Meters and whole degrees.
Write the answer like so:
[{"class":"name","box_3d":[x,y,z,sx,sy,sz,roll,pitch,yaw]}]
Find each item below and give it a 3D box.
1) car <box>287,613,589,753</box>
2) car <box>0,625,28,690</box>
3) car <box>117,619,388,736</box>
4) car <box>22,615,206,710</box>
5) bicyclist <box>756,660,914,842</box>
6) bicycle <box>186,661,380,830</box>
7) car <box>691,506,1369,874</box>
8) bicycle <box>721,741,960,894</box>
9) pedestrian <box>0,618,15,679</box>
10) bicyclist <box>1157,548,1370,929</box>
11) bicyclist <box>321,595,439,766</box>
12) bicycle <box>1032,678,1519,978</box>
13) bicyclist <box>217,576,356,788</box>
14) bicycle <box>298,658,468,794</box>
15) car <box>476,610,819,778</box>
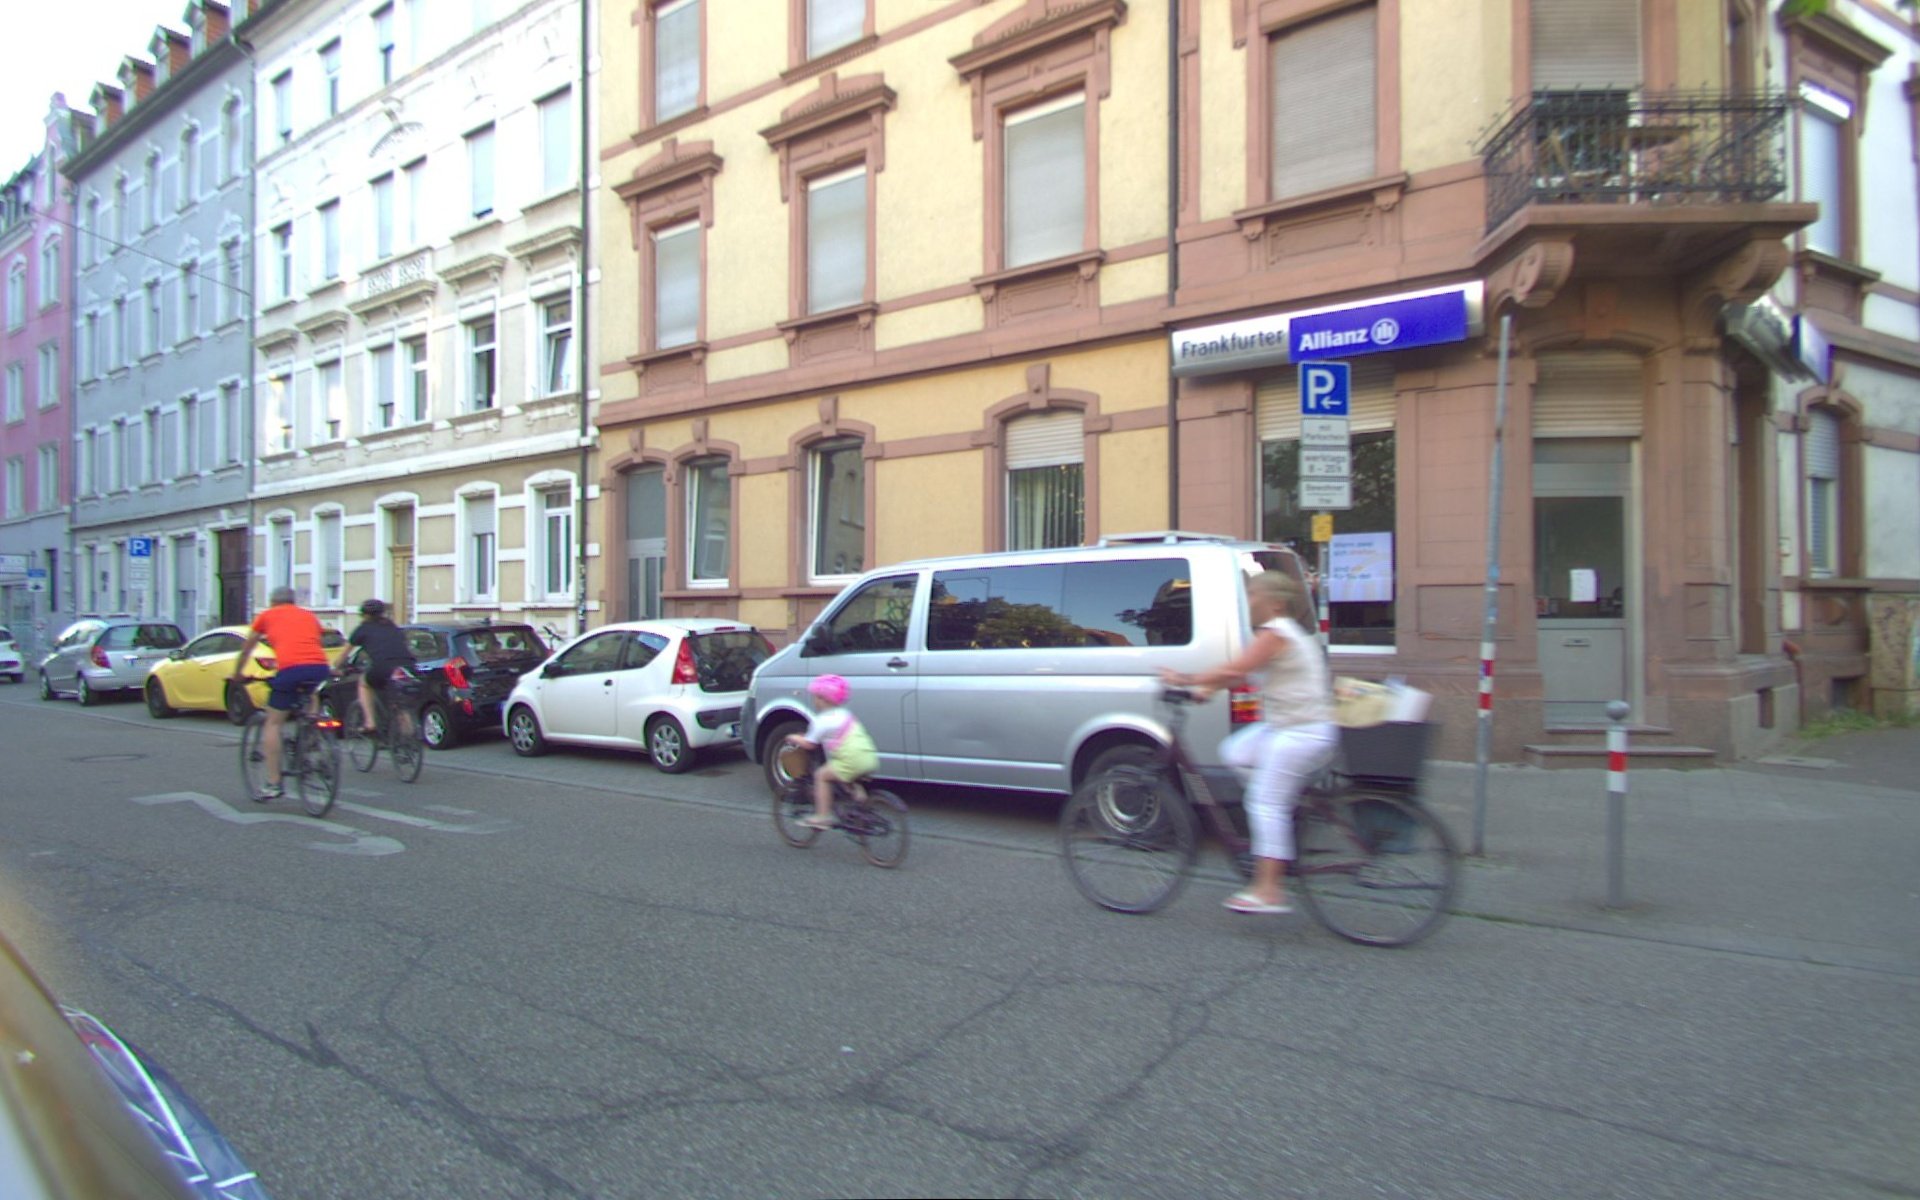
[{"class":"car","box_3d":[-6.702,0.971,12.924,3.728,1.502,1.716,-1,0,31]},{"class":"car","box_3d":[-25.476,1.475,25.767,3.918,1.588,1.738,-2,1,35]},{"class":"car","box_3d":[-11.307,1.144,16.072,4.786,1.537,1.825,-2,1,33]},{"class":"car","box_3d":[-16.575,1.160,19.770,4.137,1.604,1.784,-2,1,36]},{"class":"bicyclist","box_3d":[-0.764,0.877,6.170,0.730,0.984,0.639,-1,-2,42]},{"class":"bicycle","box_3d":[-5.357,1.069,7.958,2.011,1.115,0.643,-1,-2,37]},{"class":"car","box_3d":[0.345,0.534,7.981,4.993,2.072,2.023,-1,0,35]},{"class":"bicycle","box_3d":[-0.755,1.265,6.150,1.463,0.647,0.642,-1,-2,42]},{"class":"pedestrian","box_3d":[-31.346,1.561,32.863,0.832,1.964,0.841,-2,-2,38]},{"class":"bicyclist","box_3d":[1.442,0.588,4.760,0.870,1.595,0.720,-1,-1,24]},{"class":"bicyclist","box_3d":[-5.524,0.734,9.641,0.866,1.537,0.706,-1,-2,38]},{"class":"bicycle","box_3d":[1.419,0.959,4.758,2.035,1.103,0.723,-1,-1,25]},{"class":"bicyclist","box_3d":[-5.238,0.607,7.874,0.865,1.537,0.646,-1,-2,37]},{"class":"bicycle","box_3d":[-5.517,1.137,9.631,2.012,1.115,0.714,-1,-2,39]},{"class":"car","box_3d":[-3.458,0.905,11.013,3.604,1.502,1.670,-1,0,34]}]
